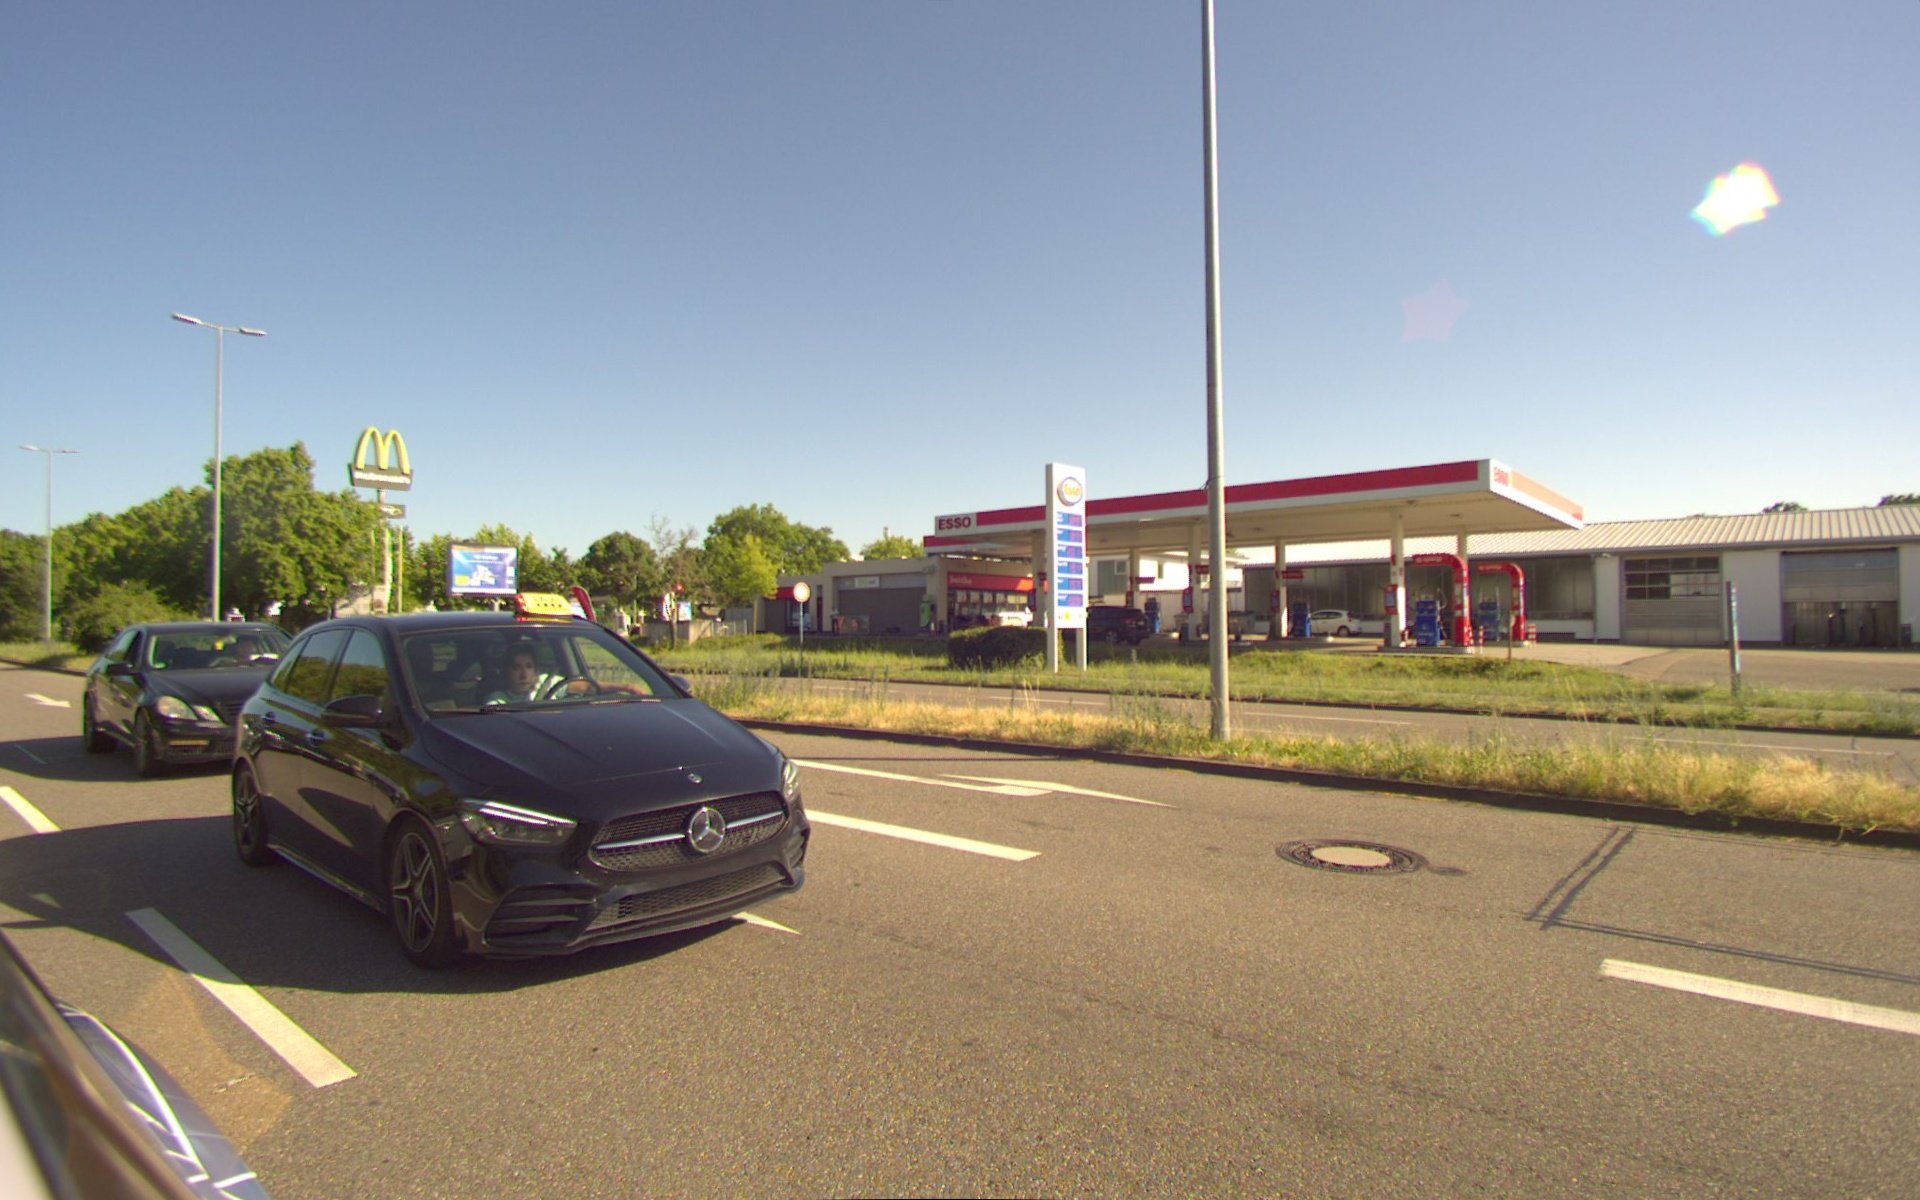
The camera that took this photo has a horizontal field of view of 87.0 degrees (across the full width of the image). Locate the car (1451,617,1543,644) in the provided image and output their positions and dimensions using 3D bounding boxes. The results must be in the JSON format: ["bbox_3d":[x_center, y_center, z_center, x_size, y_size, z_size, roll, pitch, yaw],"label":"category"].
[{"bbox_3d":[26.210,1.456,49.435,3.729,1.196,1.658,-1,0,41],"label":"car"}]

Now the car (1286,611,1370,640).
[{"bbox_3d":[19.969,1.372,54.936,3.855,1.500,1.973,-1,0,41],"label":"car"}]

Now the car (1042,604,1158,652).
[{"bbox_3d":[5.582,1.122,40.710,4.322,1.739,1.783,-1,2,43],"label":"car"}]

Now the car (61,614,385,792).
[{"bbox_3d":[-8.160,0.930,11.045,4.461,1.521,1.928,-1,0,41],"label":"car"}]

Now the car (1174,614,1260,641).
[{"bbox_3d":[15.127,1.596,59.788,4.540,1.477,1.973,-1,0,41],"label":"car"}]

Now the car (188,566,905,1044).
[{"bbox_3d":[-2.576,0.743,5.598,4.579,1.614,1.765,-2,-1,40],"label":"car"}]
